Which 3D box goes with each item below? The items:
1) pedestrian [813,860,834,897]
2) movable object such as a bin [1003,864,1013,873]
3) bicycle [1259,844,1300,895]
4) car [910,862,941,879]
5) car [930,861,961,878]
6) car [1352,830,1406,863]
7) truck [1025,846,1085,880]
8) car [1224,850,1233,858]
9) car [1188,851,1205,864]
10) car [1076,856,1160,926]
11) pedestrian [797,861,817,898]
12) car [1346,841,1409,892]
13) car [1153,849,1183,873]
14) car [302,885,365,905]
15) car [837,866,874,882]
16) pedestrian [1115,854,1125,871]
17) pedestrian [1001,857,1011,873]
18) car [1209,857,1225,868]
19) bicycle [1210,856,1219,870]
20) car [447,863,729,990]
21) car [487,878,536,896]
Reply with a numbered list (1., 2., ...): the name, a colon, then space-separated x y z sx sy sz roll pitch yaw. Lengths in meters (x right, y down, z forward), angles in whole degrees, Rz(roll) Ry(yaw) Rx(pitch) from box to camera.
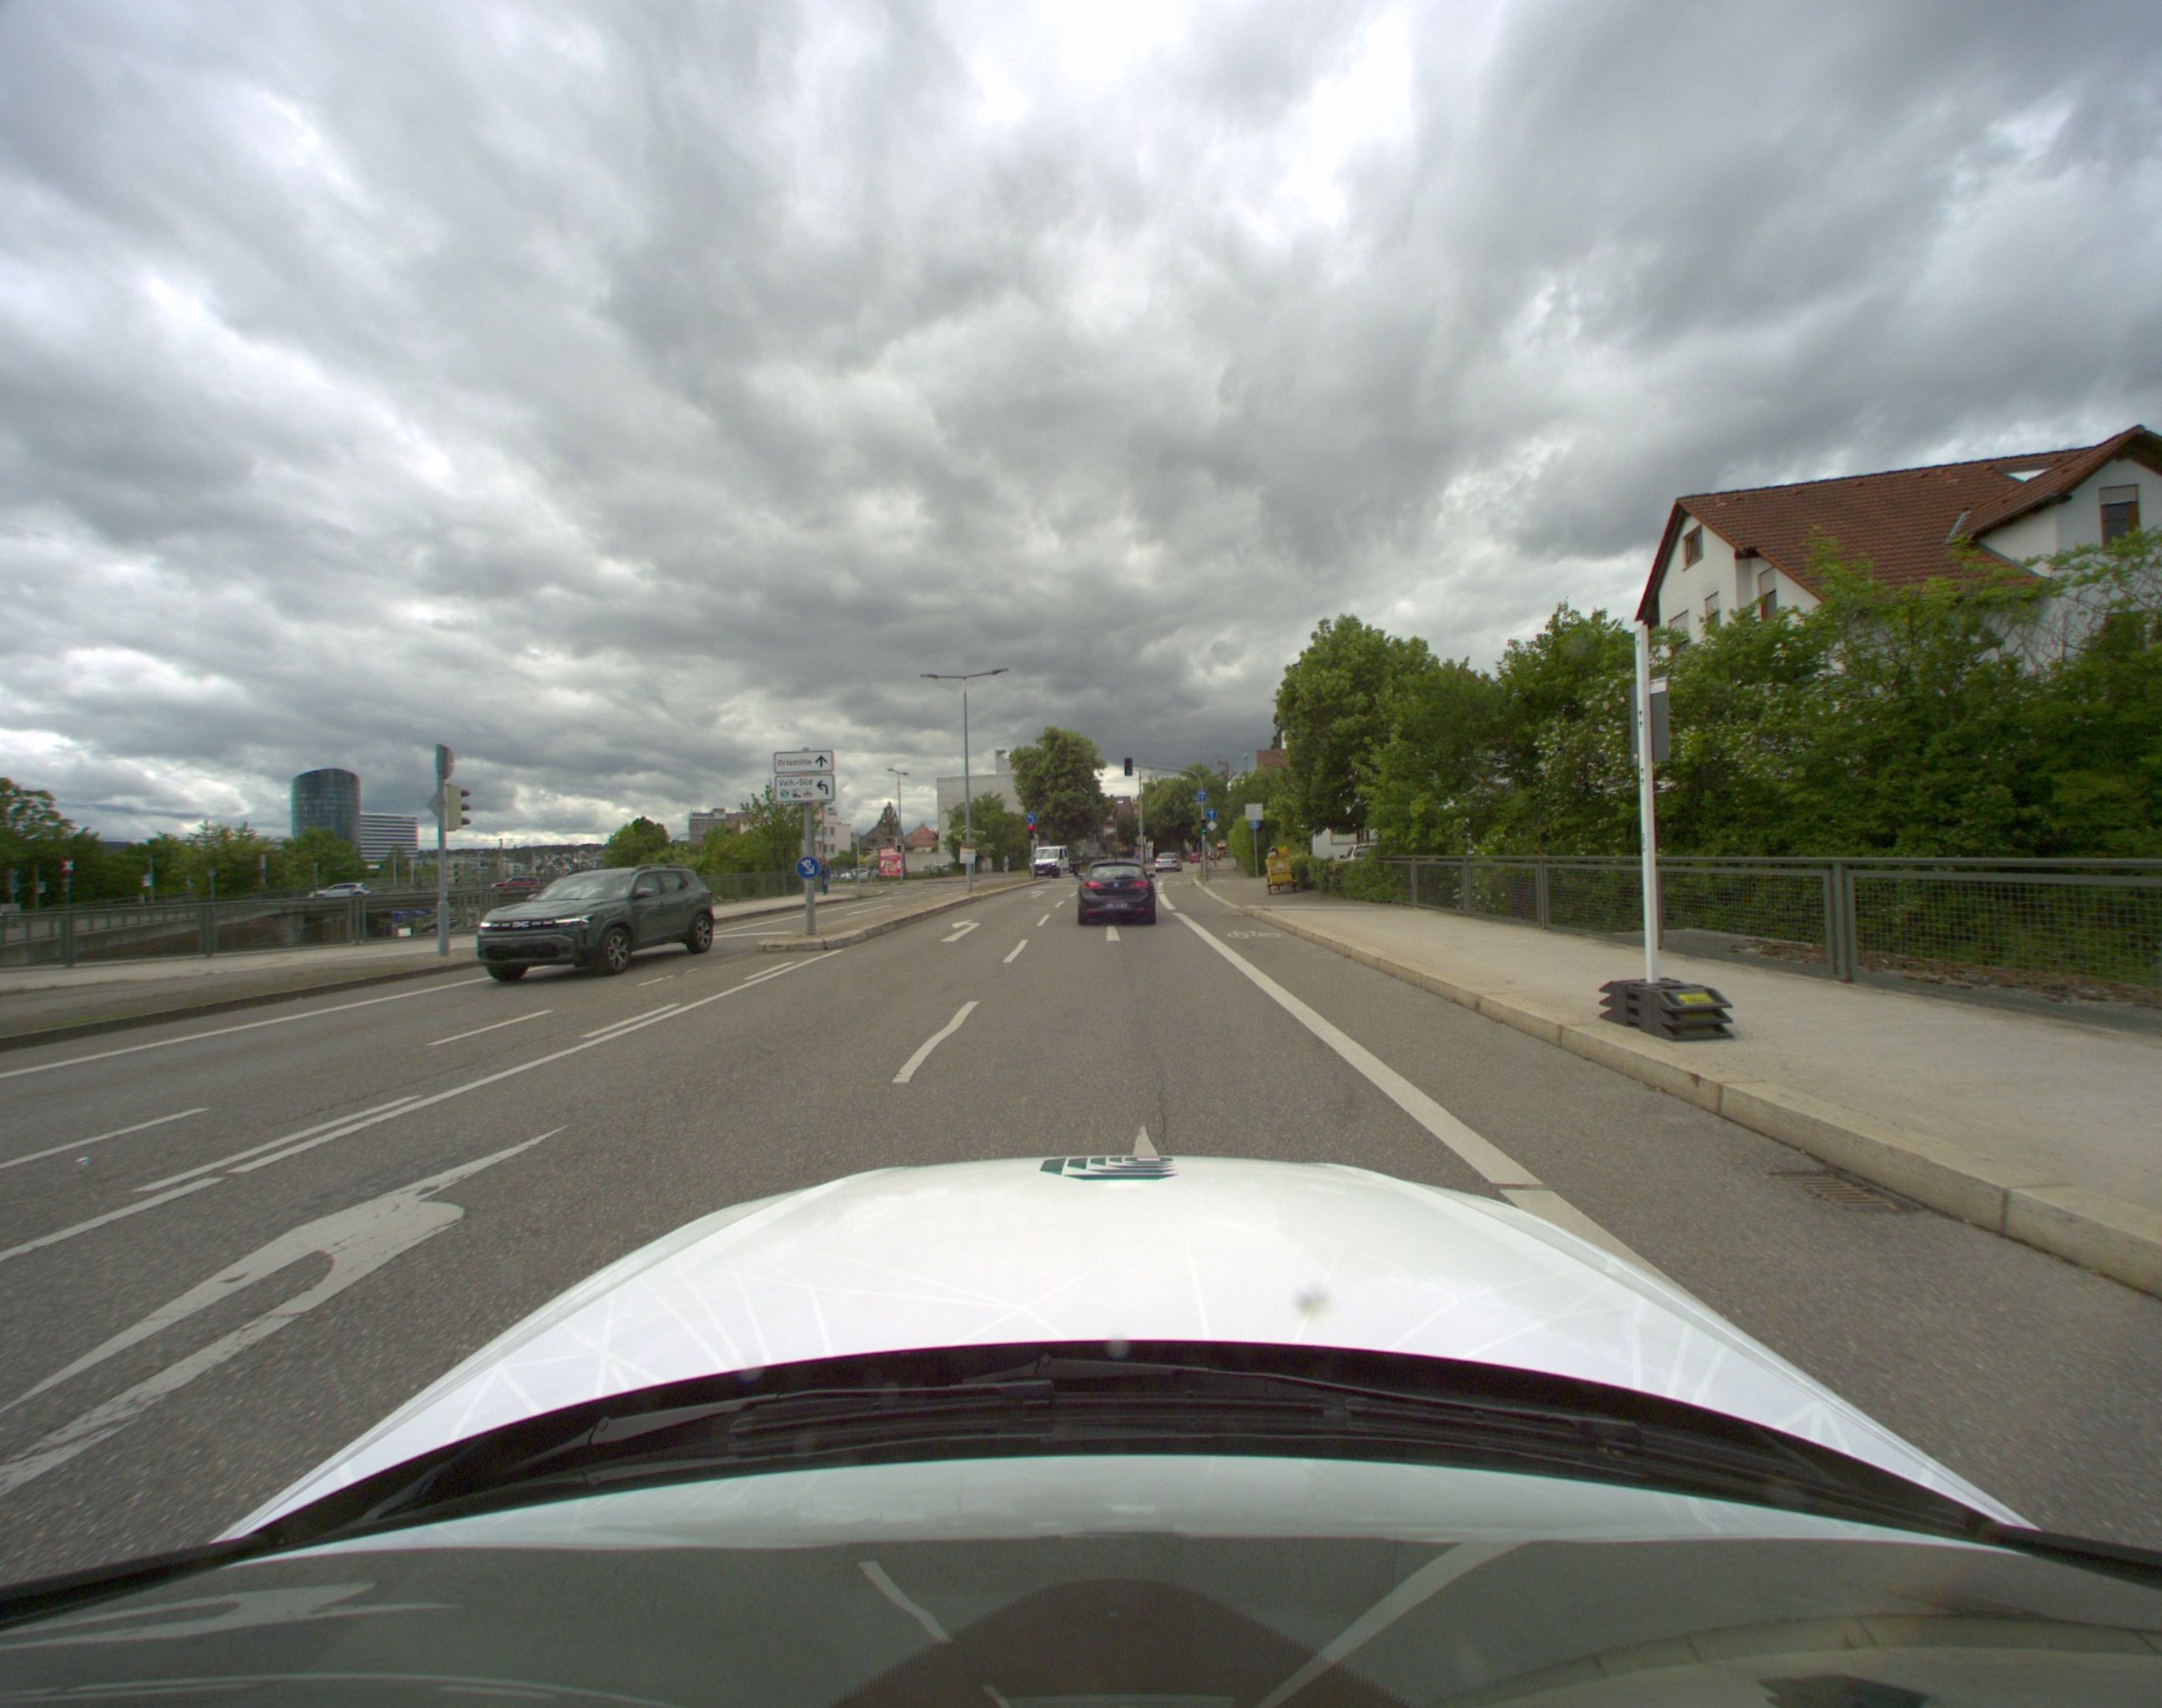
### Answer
1. pedestrian: -11.616 1.094 36.744 0.655 1.633 1.069 -1 0 -4
2. movable object such as a bin: -6.973 1.375 77.931 0.651 0.798 0.899 -2 0 10
3. bicycle: 6.529 0.468 26.942 0.887 1.510 2.789 -6 0 7
4. car: -19.507 2.022 102.570 1.976 2.013 4.021 0 0 21
5. car: -16.757 1.903 100.539 1.976 2.013 4.021 0 0 21
6. car: 14.277 -0.343 39.199 1.657 1.449 4.011 -3 0 10
7. truck: -1.757 0.576 58.650 2.108 2.264 6.837 -3 0 18
8. car: 33.812 -0.043 186.737 1.835 1.596 4.122 -2 0 14
9. car: 15.218 0.465 107.277 1.929 1.481 4.265 -3 0 10
10. car: 0.951 0.782 19.023 1.751 1.448 3.720 0 0 5
11. pedestrian: -12.357 1.124 36.720 0.655 1.633 0.832 -1 0 -4
12. car: 10.029 0.380 27.773 1.658 1.504 4.077 -2 1 15
13. car: 6.870 0.538 64.002 1.806 1.699 4.268 -3 0 13
14. car: -67.647 3.664 73.775 4.016 1.662 1.718 1 0 -35
15. car: -25.512 2.232 92.160 1.779 1.554 4.024 -3 0 27
16. pedestrian: 3.513 0.781 72.714 0.771 1.407 0.600 3 3 -1
17. pedestrian: -7.111 1.033 77.253 0.651 1.522 0.926 -2 0 10
18. car: 23.229 1.386 138.861 1.977 1.684 4.019 -2 0 18
19. bicycle: 10.030 0.656 61.098 0.624 1.028 1.508 -2 0 10
20. car: -7.740 1.021 13.395 1.815 1.626 4.281 -3 0 2
21. car: -57.250 3.292 81.926 4.016 1.662 1.780 0 0 -34
